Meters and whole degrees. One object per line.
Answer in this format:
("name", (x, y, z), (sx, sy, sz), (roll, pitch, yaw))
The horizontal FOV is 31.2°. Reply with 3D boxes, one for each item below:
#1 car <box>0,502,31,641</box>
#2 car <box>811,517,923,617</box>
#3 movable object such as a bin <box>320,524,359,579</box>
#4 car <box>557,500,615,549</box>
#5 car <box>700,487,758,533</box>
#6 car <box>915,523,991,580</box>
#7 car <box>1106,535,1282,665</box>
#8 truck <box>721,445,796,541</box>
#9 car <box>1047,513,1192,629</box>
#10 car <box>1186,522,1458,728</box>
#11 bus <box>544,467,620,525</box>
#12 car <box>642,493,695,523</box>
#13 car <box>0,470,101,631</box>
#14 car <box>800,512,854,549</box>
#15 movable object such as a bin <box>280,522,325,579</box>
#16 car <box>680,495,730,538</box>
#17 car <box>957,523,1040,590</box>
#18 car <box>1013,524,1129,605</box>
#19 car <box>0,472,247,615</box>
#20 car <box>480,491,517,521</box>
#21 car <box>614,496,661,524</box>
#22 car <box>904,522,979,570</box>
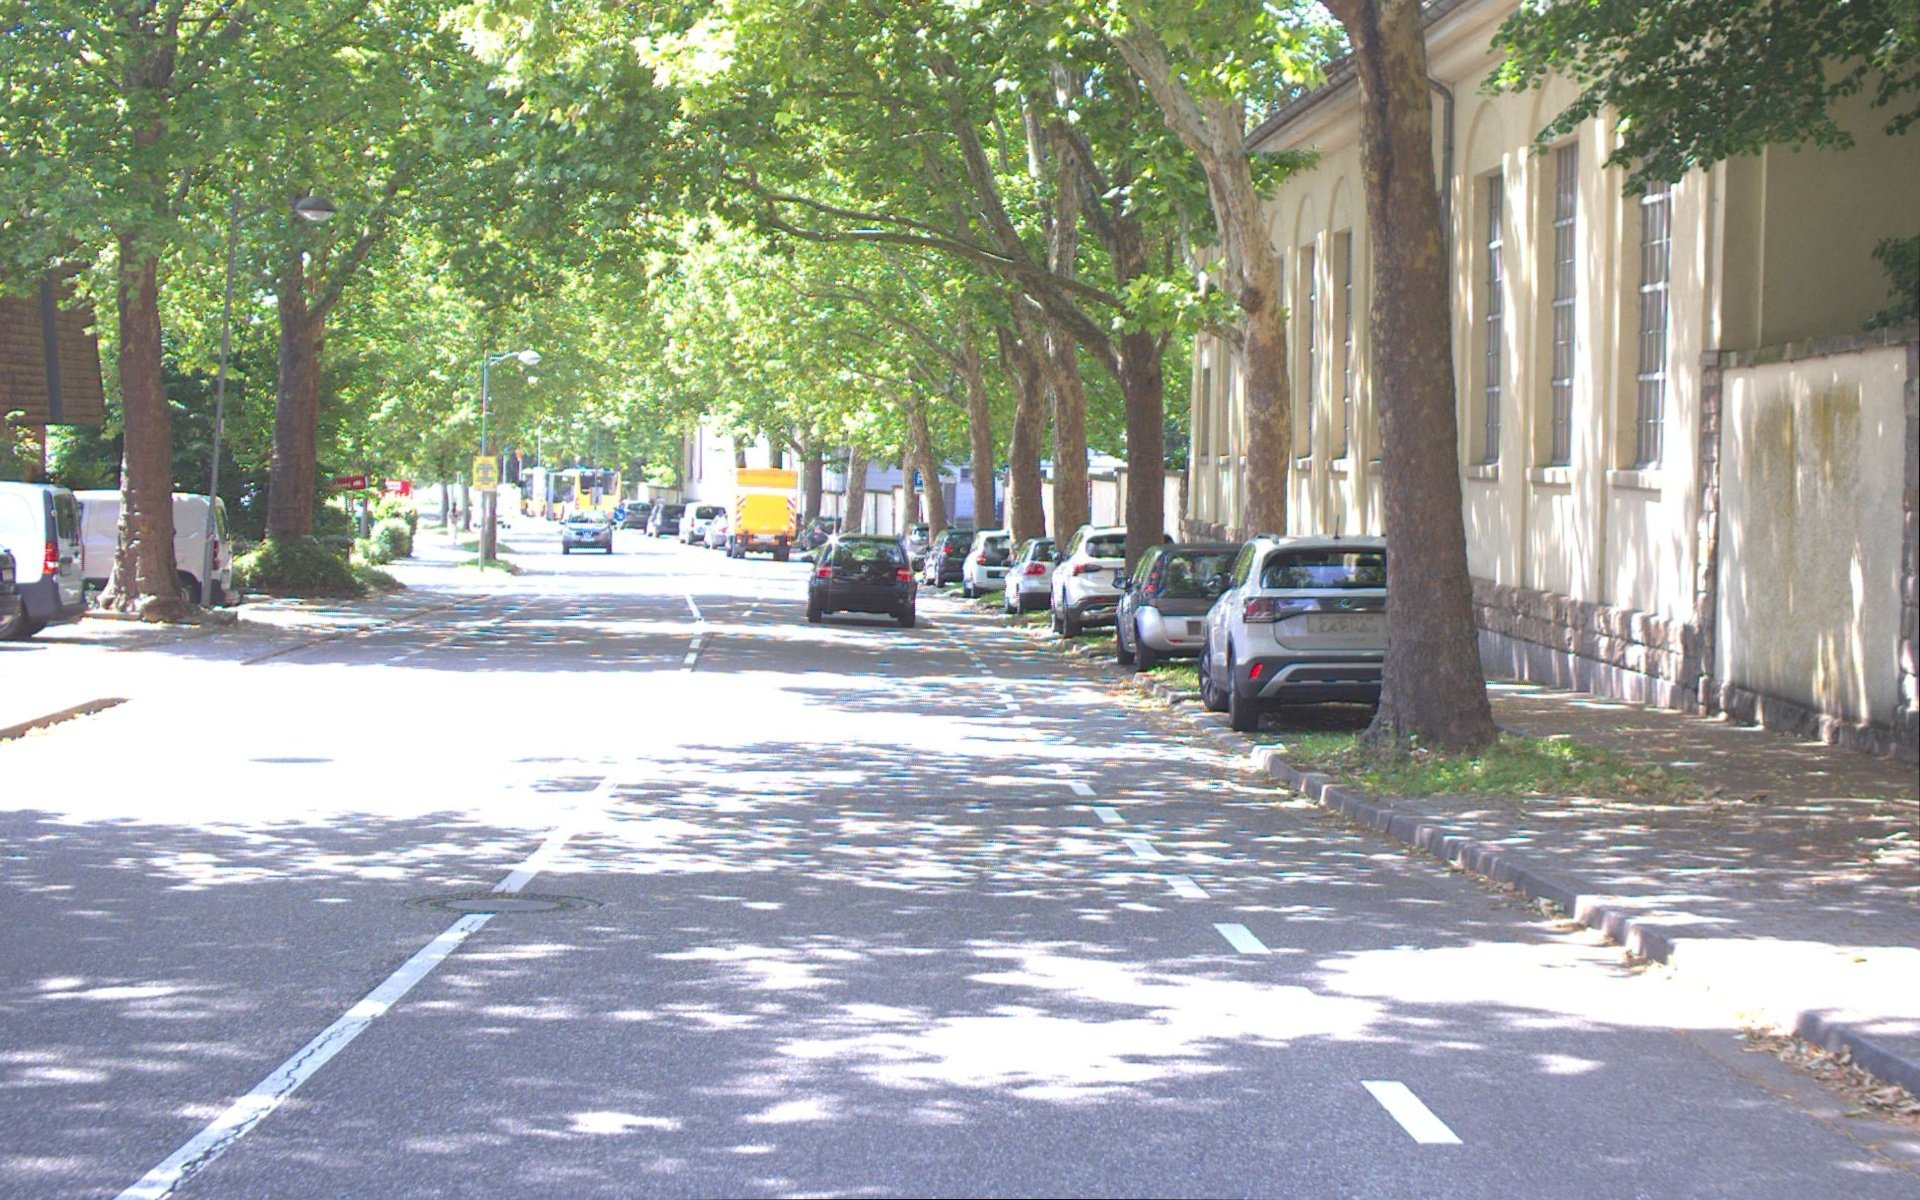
("car", (-12.408, -0.429, 37.624), (3.986, 1.510, 1.869), (3, 1, -5))
("car", (-1.549, -0.567, 55.864), (1.711, 1.442, 4.059), (1, 2, -3))
("movable object such as a bin", (-12.018, -0.940, 66.582), (0.623, 1.045, 0.620), (2, 1, 1))
("car", (-13.567, -2.723, 124.652), (1.993, 1.660, 4.001), (2, 0, -7))
("car", (-9.206, -3.566, 136.541), (1.879, 1.680, 4.001), (2, 0, -9))
("car", (-0.199, -1.285, 90.046), (1.766, 1.461, 3.876), (0, 1, -3))
("car", (2.705, -0.037, 40.558), (1.621, 1.435, 4.433), (0, 1, -2))
("truck", (-7.102, -3.728, 120.652), (2.370, 3.123, 5.770), (2, 0, -5))
("car", (2.384, -0.472, 52.370), (1.807, 1.683, 4.752), (0, 1, -2))
("car", (2.964, 0.138, 29.070), (1.741, 1.552, 4.780), (0, 2, -1))
("bus", (-21.432, -5.833, 194.360), (2.663, 3.140, 11.201), (1, 1, -14))
("car", (-13.385, -4.219, 157.727), (1.766, 1.369, 3.731), (0, 1, -15))
("car", (-12.499, -0.691, 40.216), (4.422, 1.798, 1.903), (3, 1, -5))
("car", (-5.240, -2.738, 135.140), (1.766, 1.369, 3.731), (2, 1, -7))
("movable object such as a bin", (-12.720, -0.962, 66.518), (0.734, 1.074, 0.701), (2, 1, -2))
("car", (-10.709, -3.484, 144.030), (1.879, 1.680, 4.001), (2, 0, -7))
("car", (0.851, -1.002, 77.350), (1.577, 1.461, 3.876), (0, 1, -3))
("car", (2.004, -0.671, 63.021), (1.766, 1.428, 3.876), (0, 1, -3))
("car", (-12.278, -0.823, 48.324), (4.128, 1.798, 1.903), (3, 1, -5))
("car", (-23.288, -4.749, 173.387), (1.710, 1.442, 4.059), (1, 1, -9))
("car", (-15.872, -4.415, 169.098), (1.766, 1.369, 3.731), (0, 1, -14))
("car", (-0.566, -1.586, 99.824), (1.766, 1.369, 3.731), (0, 1, -7))
